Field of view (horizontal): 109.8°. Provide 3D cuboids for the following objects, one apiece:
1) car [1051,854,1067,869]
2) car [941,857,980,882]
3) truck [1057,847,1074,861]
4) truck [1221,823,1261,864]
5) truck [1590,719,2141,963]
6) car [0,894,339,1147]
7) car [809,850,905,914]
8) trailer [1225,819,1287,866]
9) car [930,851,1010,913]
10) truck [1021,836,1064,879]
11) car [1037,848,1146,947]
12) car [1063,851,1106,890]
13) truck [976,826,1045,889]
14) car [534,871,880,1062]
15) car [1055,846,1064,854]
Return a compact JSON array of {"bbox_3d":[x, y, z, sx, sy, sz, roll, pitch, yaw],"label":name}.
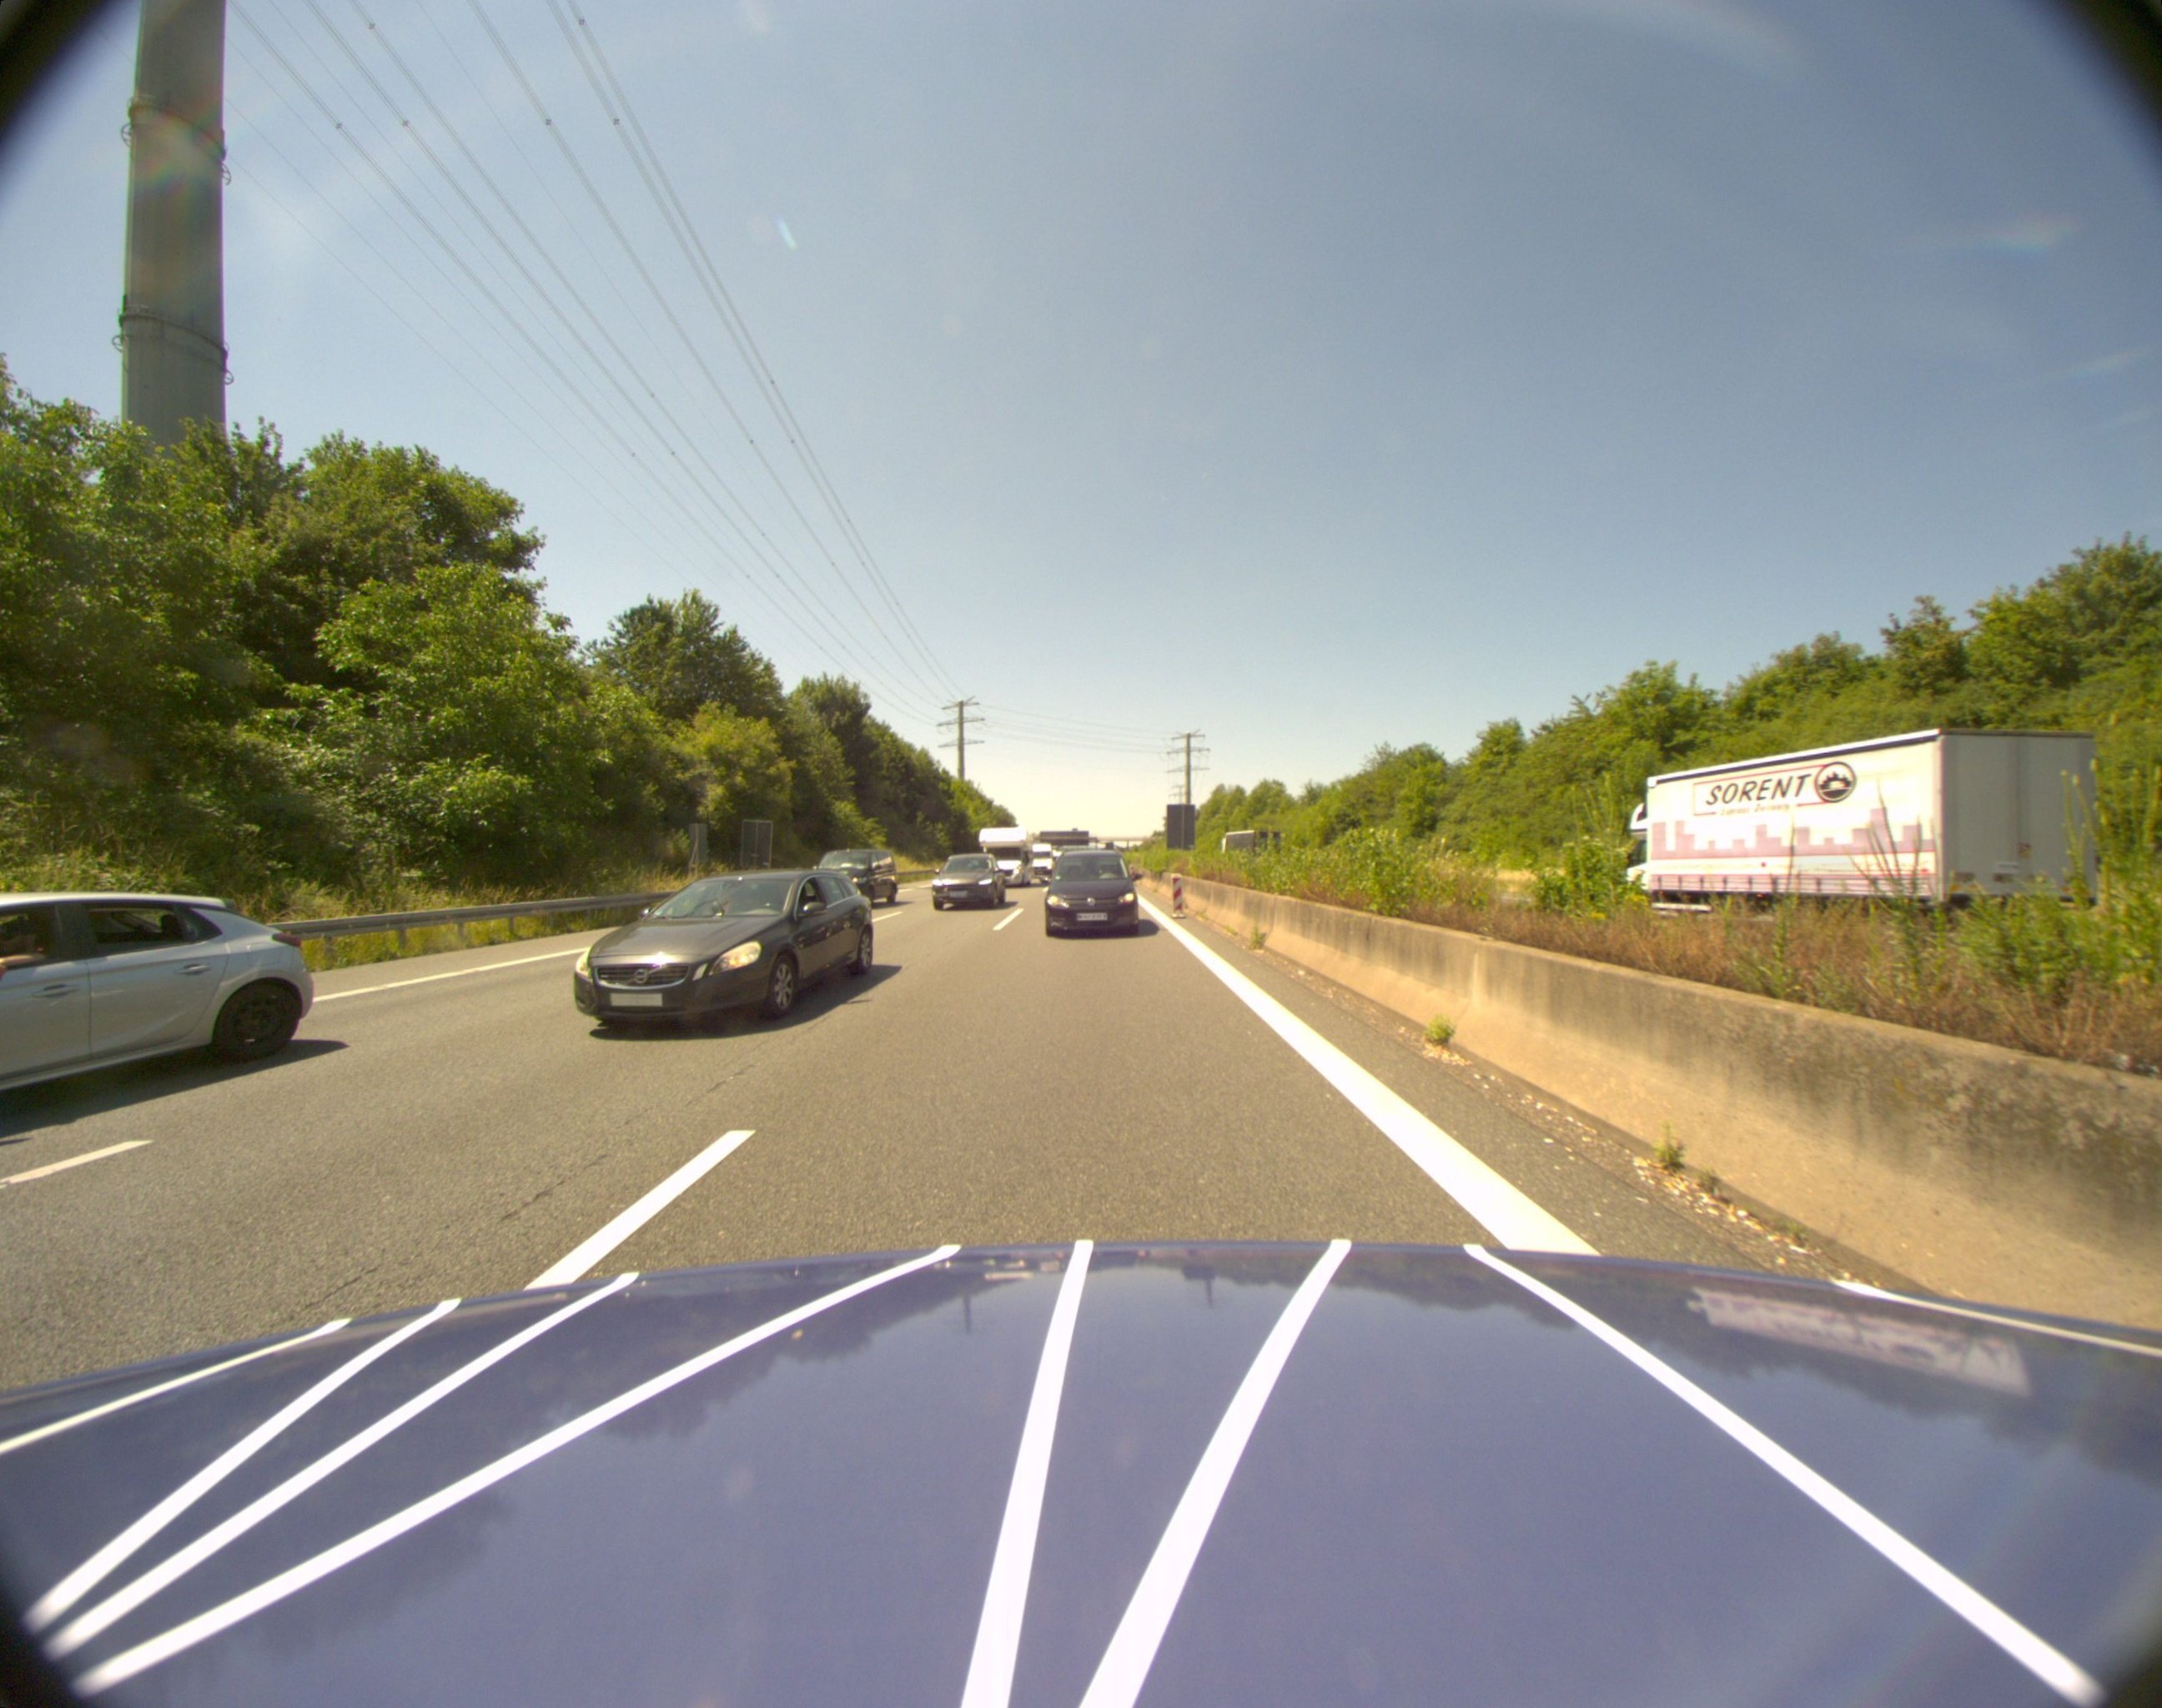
[{"bbox_3d":[-2.663,0.870,94.261,1.892,1.693,4.382,-2,1,-1],"label":"car"},{"bbox_3d":[-7.488,0.949,47.438,1.800,1.429,3.730,-2,1,-1],"label":"car"},{"bbox_3d":[-2.552,0.024,127.248,2.408,2.203,6.744,-2,1,2],"label":"truck"},{"bbox_3d":[17.000,-1.125,81.151,2.758,4.143,6.410,2,1,1],"label":"truck"},{"bbox_3d":[15.772,-0.245,16.876,2.769,3.866,9.029,2,1,0],"label":"truck"},{"bbox_3d":[-7.631,1.126,4.858,1.745,1.461,4.014,-2,0,1],"label":"car"},{"bbox_3d":[-7.487,0.850,25.905,1.788,1.893,4.697,-2,1,0],"label":"car"},{"bbox_3d":[16.930,-1.064,74.692,2.759,4.143,14.196,2,1,1],"label":"trailer"},{"bbox_3d":[-3.407,0.803,24.081,1.892,1.693,4.382,-2,1,-1],"label":"car"},{"bbox_3d":[-2.865,0.197,59.433,2.514,2.997,9.897,-2,1,2],"label":"truck"},{"bbox_3d":[0.157,0.758,15.741,1.892,1.693,4.382,-2,1,-1],"label":"car"},{"bbox_3d":[0.140,0.738,36.801,1.892,1.693,4.382,-2,1,-1],"label":"car"},{"bbox_3d":[-3.682,0.111,42.245,2.514,2.997,9.897,-2,1,2],"label":"truck"},{"bbox_3d":[-3.726,1.005,8.562,1.800,1.429,4.230,-2,1,-1],"label":"car"},{"bbox_3d":[-5.635,-1.078,200.558,1.998,2.002,4.000,-2,1,1],"label":"car"}]
